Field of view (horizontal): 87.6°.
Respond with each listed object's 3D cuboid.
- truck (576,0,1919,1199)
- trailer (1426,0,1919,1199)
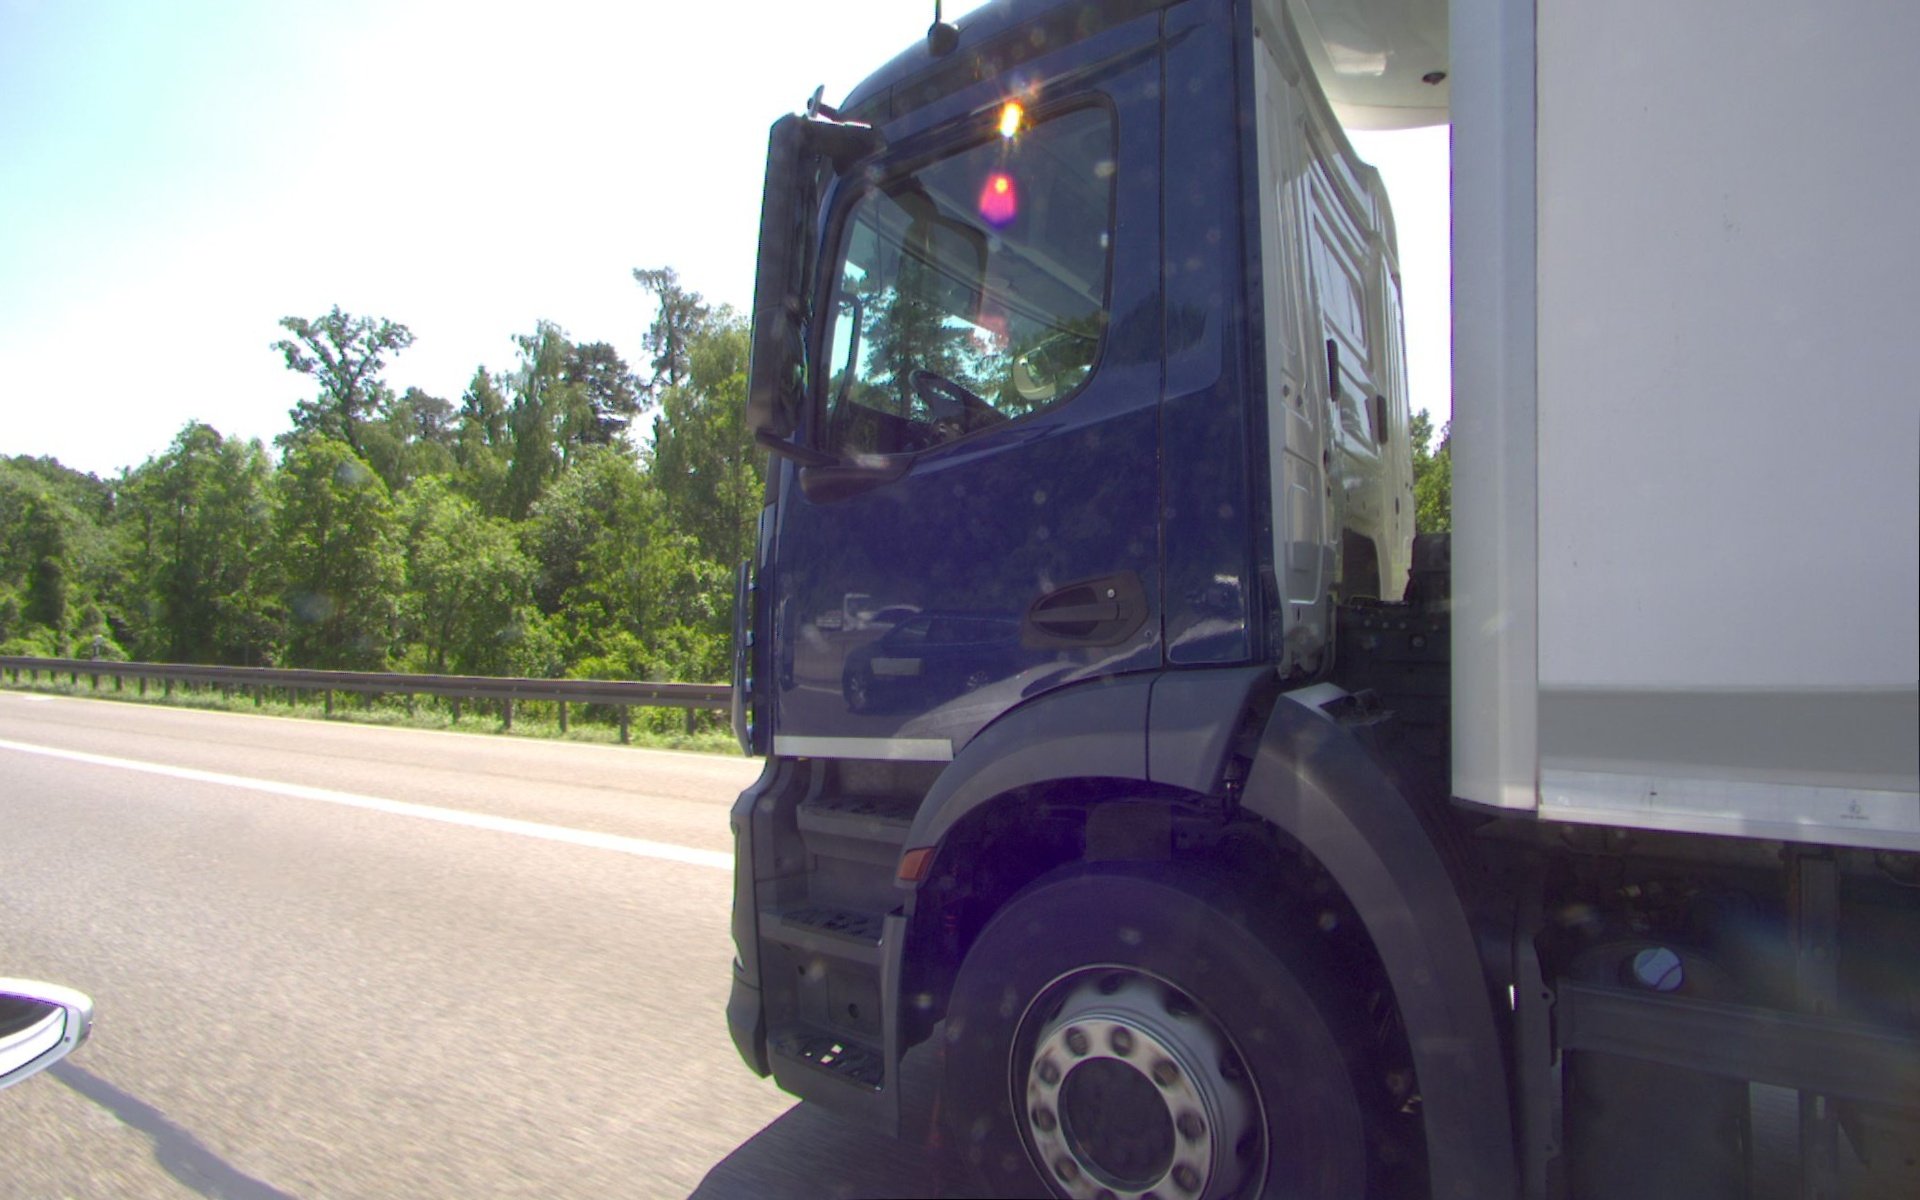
[{"bbox_3d":[1.415,0.017,2.542,4.047,2.979,2.550,-2,-1,33],"label":"truck"},{"bbox_3d":[4.642,-0.076,0.524,7.767,2.936,2.552,-1,-1,32],"label":"trailer"}]
